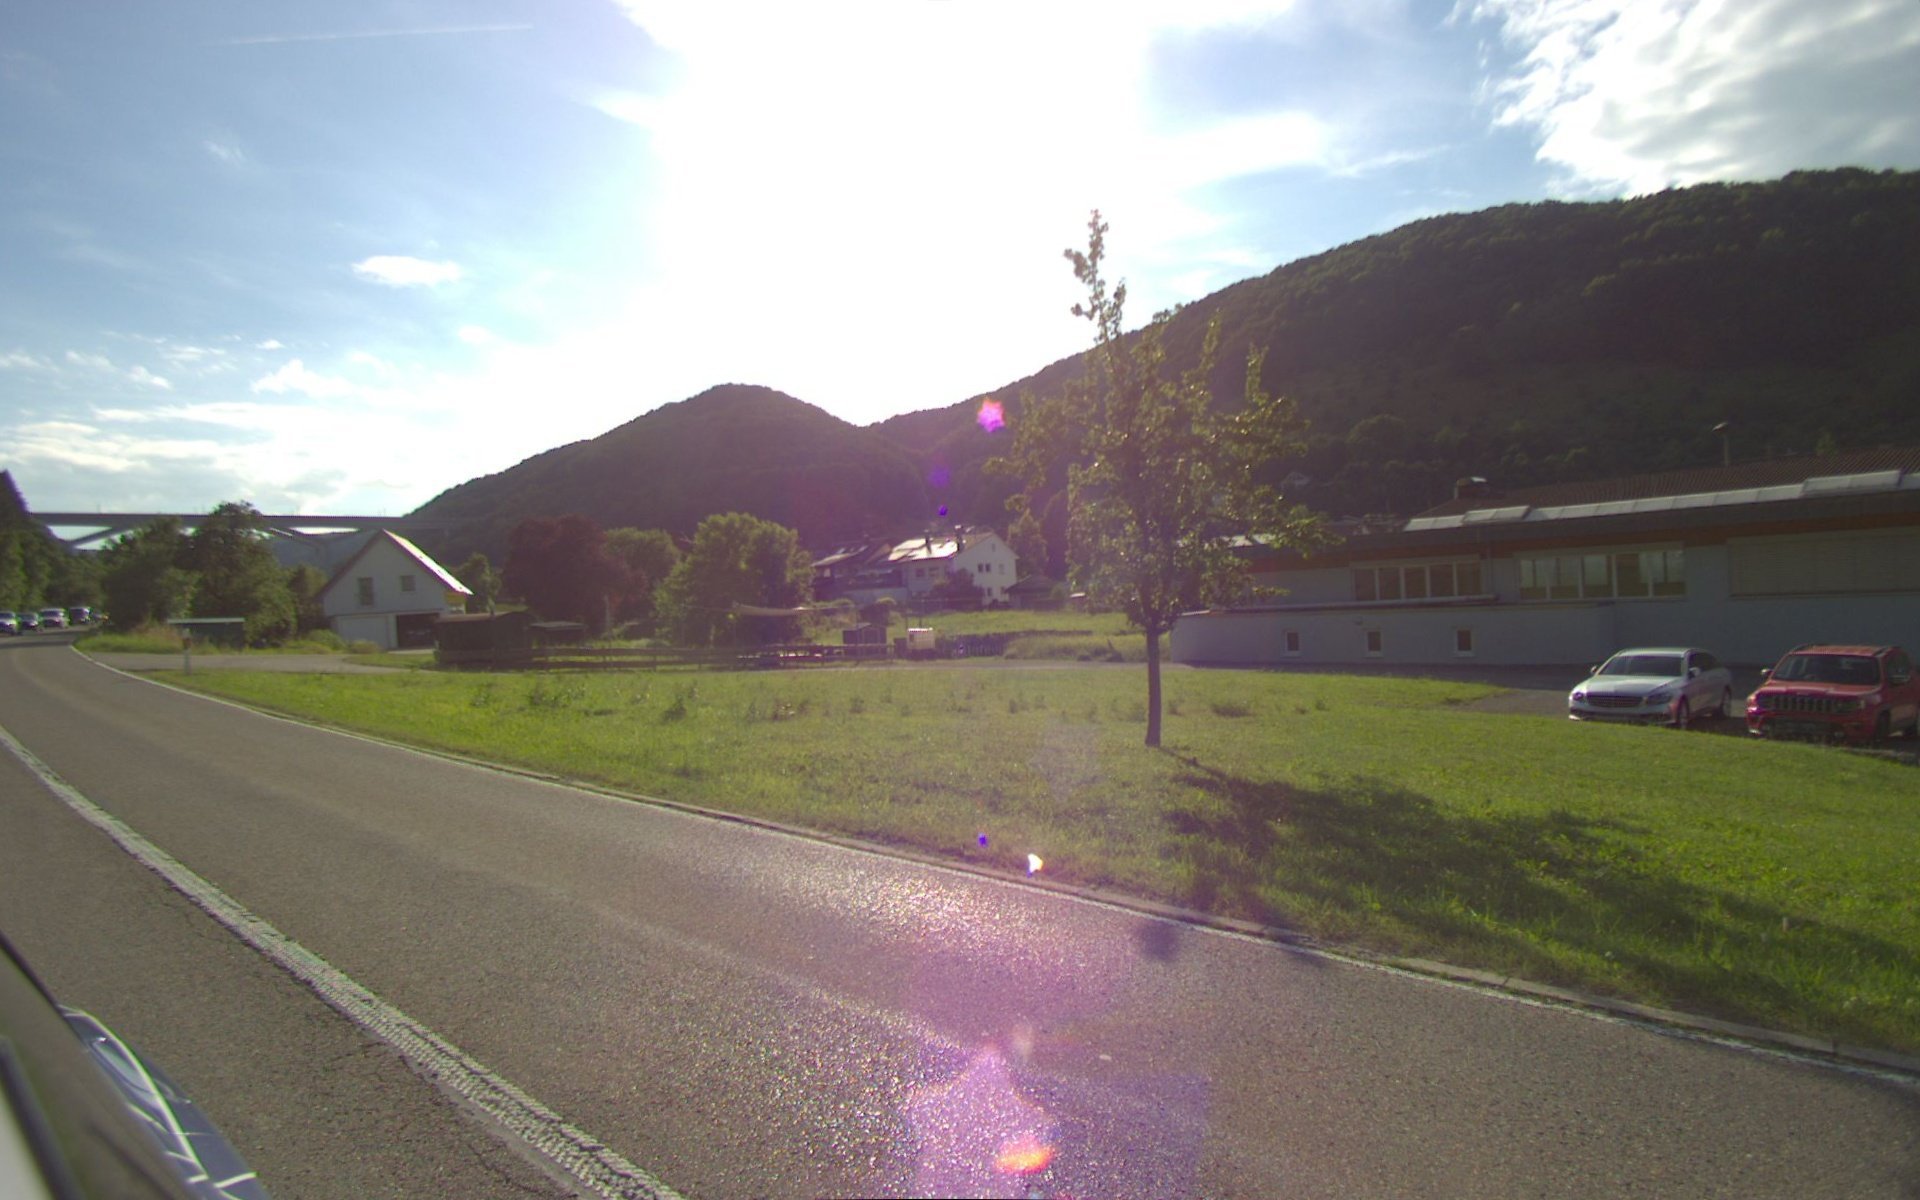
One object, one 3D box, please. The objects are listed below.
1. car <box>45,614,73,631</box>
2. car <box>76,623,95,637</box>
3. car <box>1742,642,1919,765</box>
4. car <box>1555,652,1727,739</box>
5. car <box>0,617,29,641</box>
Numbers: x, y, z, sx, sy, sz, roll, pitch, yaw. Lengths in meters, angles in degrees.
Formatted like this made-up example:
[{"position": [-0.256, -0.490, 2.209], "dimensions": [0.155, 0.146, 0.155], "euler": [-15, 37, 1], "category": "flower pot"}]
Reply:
[{"position": [-80.182, 1.972, 90.024], "dimensions": [3.681, 1.490, 1.608], "euler": [-1, 0, 44], "category": "car"}, {"position": [-98.537, 3.324, 114.035], "dimensions": [1.606, 1.490, 3.684], "euler": [-1, 0, -41], "category": "car"}, {"position": [15.385, 1.665, 17.507], "dimensions": [4.264, 1.682, 1.852], "euler": [-1, 0, -37], "category": "car"}, {"position": [13.596, 1.817, 20.143], "dimensions": [3.837, 1.379, 1.856], "euler": [0, -1, -40], "category": "car"}, {"position": [-61.258, 1.833, 65.101], "dimensions": [3.678, 1.490, 1.609], "euler": [-1, 0, 42], "category": "car"}]
